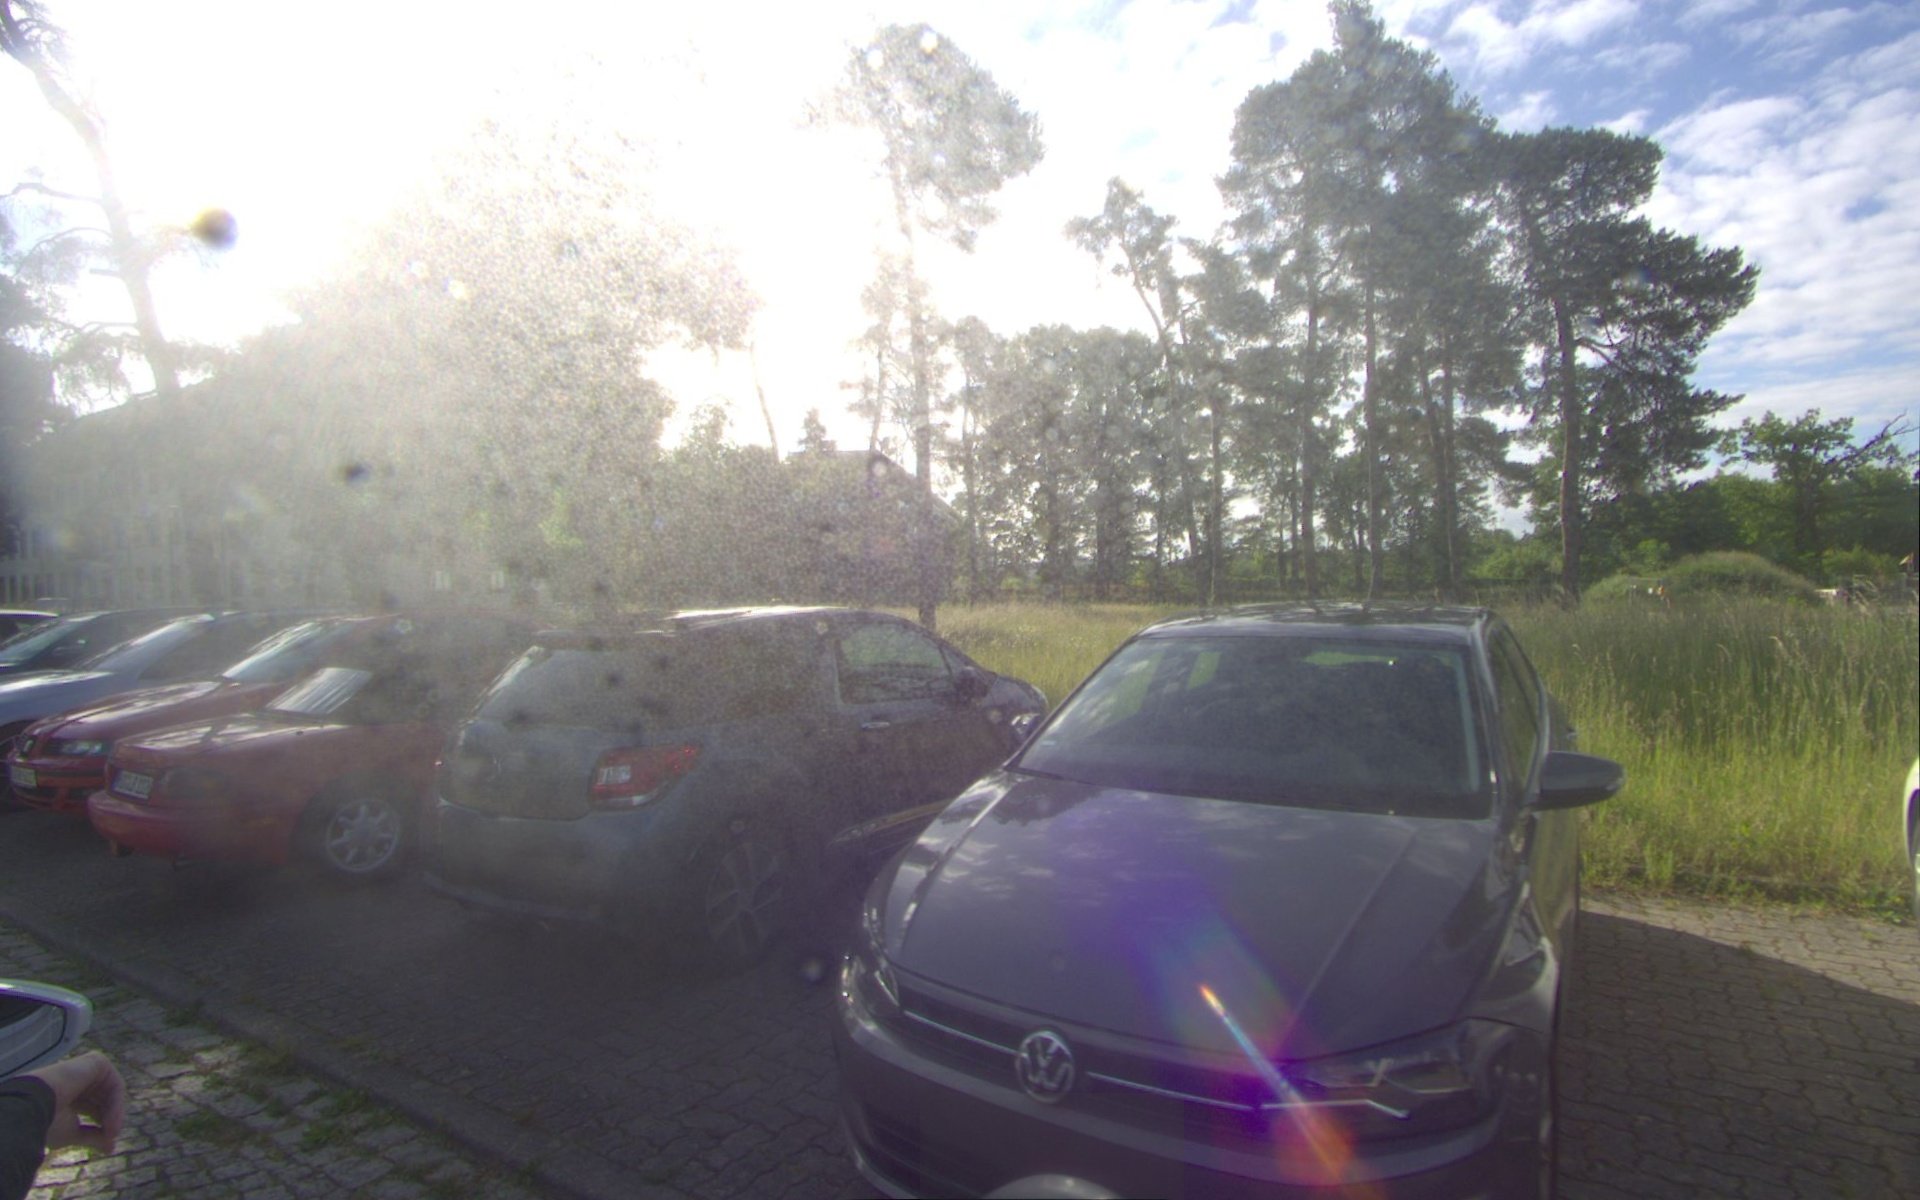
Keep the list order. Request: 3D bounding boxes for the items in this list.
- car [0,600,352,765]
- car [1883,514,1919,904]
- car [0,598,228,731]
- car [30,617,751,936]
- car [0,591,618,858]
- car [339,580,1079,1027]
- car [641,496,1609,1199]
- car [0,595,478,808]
[{"bbox_3d":[-9.199,0.799,10.510,1.613,1.435,4.547,0,2,33],"label":"car"},{"bbox_3d":[3.882,0.480,2.442,1.736,1.556,3.697,0,2,33],"label":"car"},{"bbox_3d":[-11.446,0.765,12.084,1.613,1.435,3.872,0,2,33],"label":"car"},{"bbox_3d":[-3.317,0.834,6.536,1.721,1.240,3.697,0,2,33],"label":"car"},{"bbox_3d":[-5.001,0.721,8.084,1.613,1.469,4.116,0,2,33],"label":"car"},{"bbox_3d":[-0.958,0.670,5.471,1.790,1.469,3.698,0,2,32],"label":"car"},{"bbox_3d":[1.048,0.536,3.345,1.830,1.469,3.697,0,2,33],"label":"car"},{"bbox_3d":[-6.958,0.747,9.044,1.755,1.435,4.420,0,2,33],"label":"car"}]
